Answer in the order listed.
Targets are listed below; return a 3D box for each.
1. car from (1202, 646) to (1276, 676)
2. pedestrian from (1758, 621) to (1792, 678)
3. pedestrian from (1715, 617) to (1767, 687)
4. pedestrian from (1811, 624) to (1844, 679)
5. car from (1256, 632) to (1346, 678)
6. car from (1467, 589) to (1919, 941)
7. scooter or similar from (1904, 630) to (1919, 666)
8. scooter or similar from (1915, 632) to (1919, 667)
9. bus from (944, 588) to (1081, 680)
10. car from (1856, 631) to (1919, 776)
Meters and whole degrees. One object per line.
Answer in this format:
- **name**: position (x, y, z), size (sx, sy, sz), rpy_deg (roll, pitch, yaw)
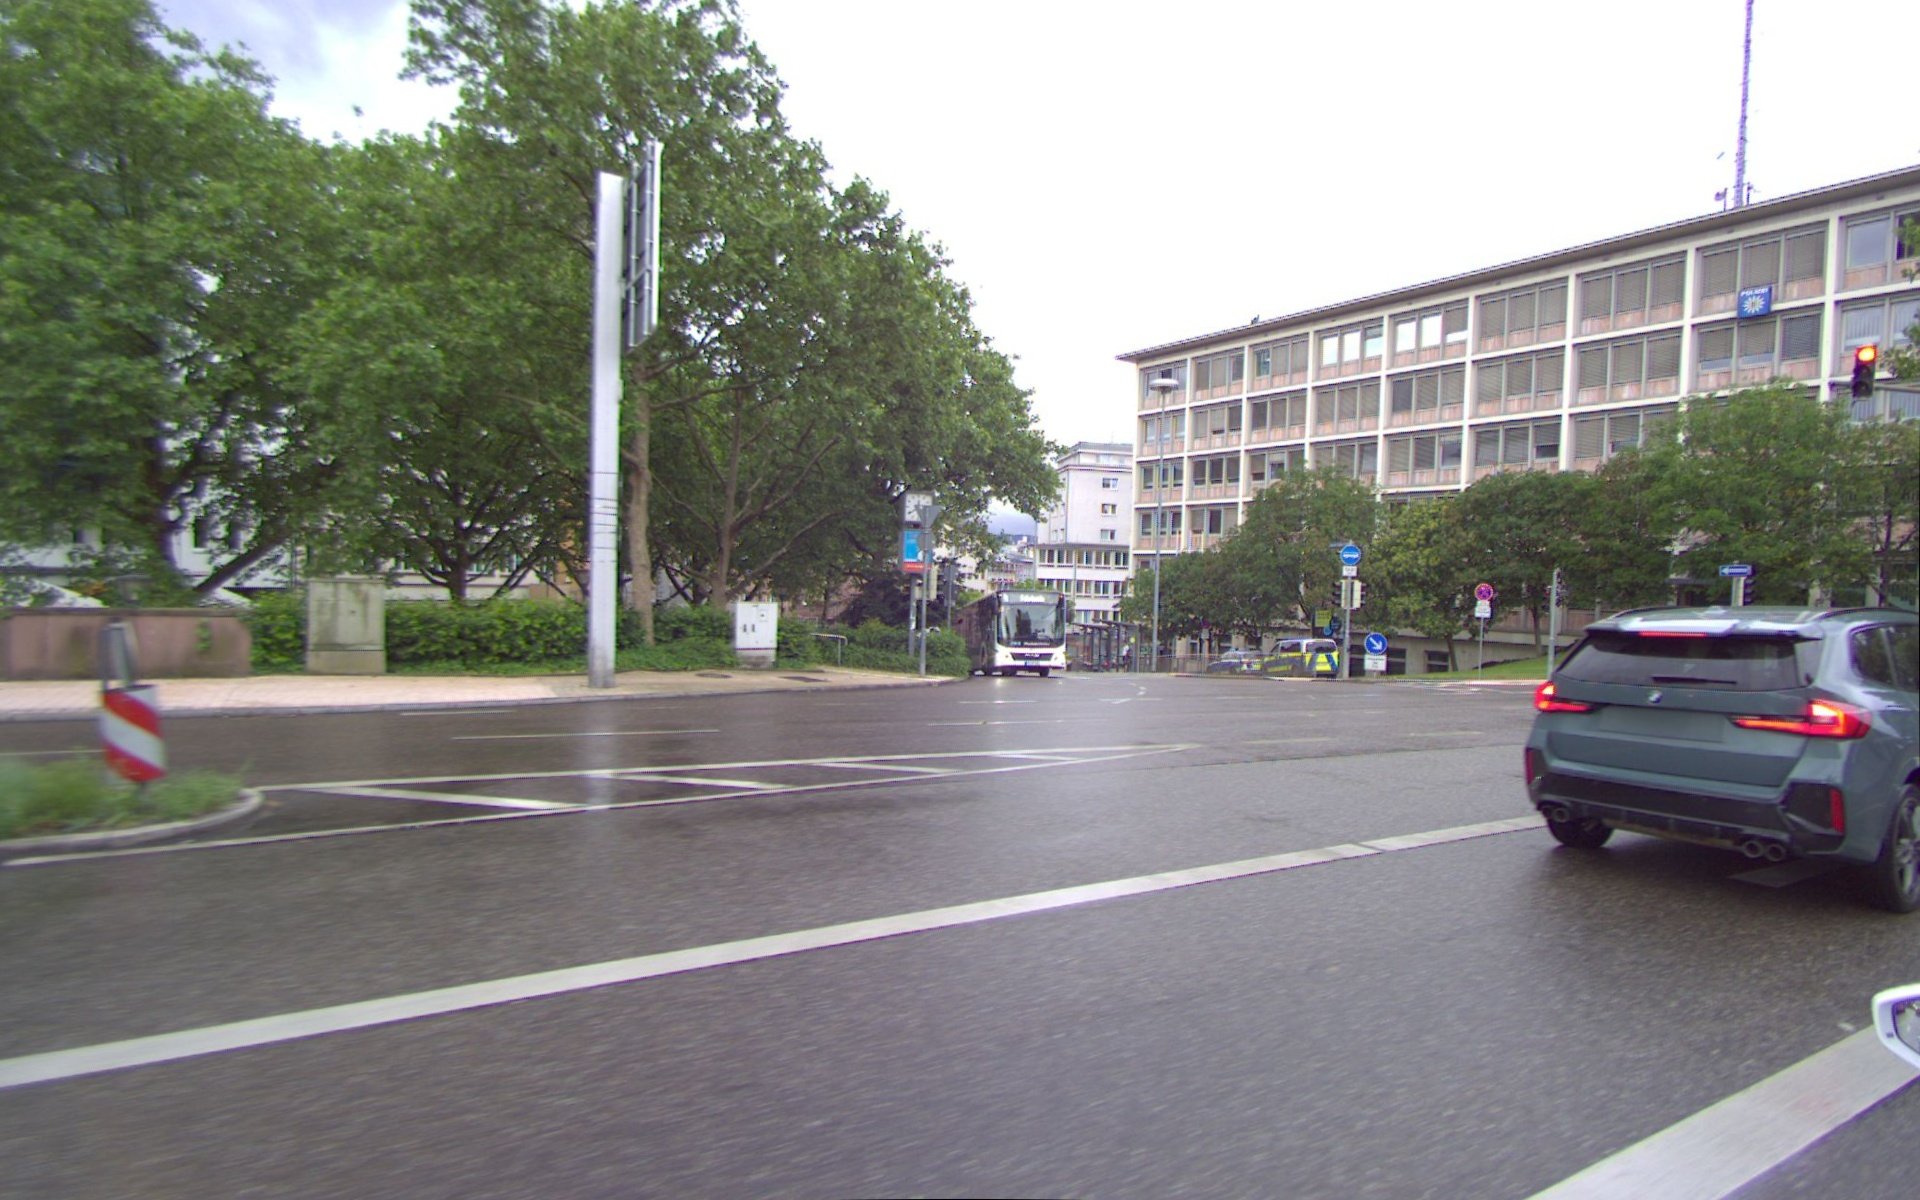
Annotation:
- **car**: position (14.647, 3.194, 52.980), size (1.964, 1.438, 4.581), rpy_deg (1, -2, -10)
- **pedestrian**: position (25.174, 1.520, 31.026), size (0.791, 1.733, 0.648), rpy_deg (1, 0, -39)
- **pedestrian**: position (23.937, 1.582, 30.798), size (0.861, 2.073, 0.932), rpy_deg (1, 0, -24)
- **pedestrian**: position (26.265, 1.548, 30.418), size (0.918, 1.624, 0.647), rpy_deg (2, 0, -43)
- **car**: position (15.669, 2.519, 46.424), size (1.964, 1.990, 4.581), rpy_deg (1, -2, -10)
- **car**: position (5.572, 0.832, 6.761), size (4.312, 1.661, 1.953), rpy_deg (2, -1, -33)
- **scooter or similar**: position (33.063, 1.646, 34.598), size (1.487, 1.183, 0.485), rpy_deg (2, 0, -35)
- **scooter or similar**: position (34.414, 1.751, 35.448), size (1.554, 1.208, 0.567), rpy_deg (2, 0, -28)
- **bus**: position (1.712, 1.474, 39.858), size (2.837, 3.058, 11.956), rpy_deg (1, -3, -10)
- **car**: position (11.349, 1.101, 11.332), size (1.795, 1.428, 4.390), rpy_deg (1, -1, 42)
